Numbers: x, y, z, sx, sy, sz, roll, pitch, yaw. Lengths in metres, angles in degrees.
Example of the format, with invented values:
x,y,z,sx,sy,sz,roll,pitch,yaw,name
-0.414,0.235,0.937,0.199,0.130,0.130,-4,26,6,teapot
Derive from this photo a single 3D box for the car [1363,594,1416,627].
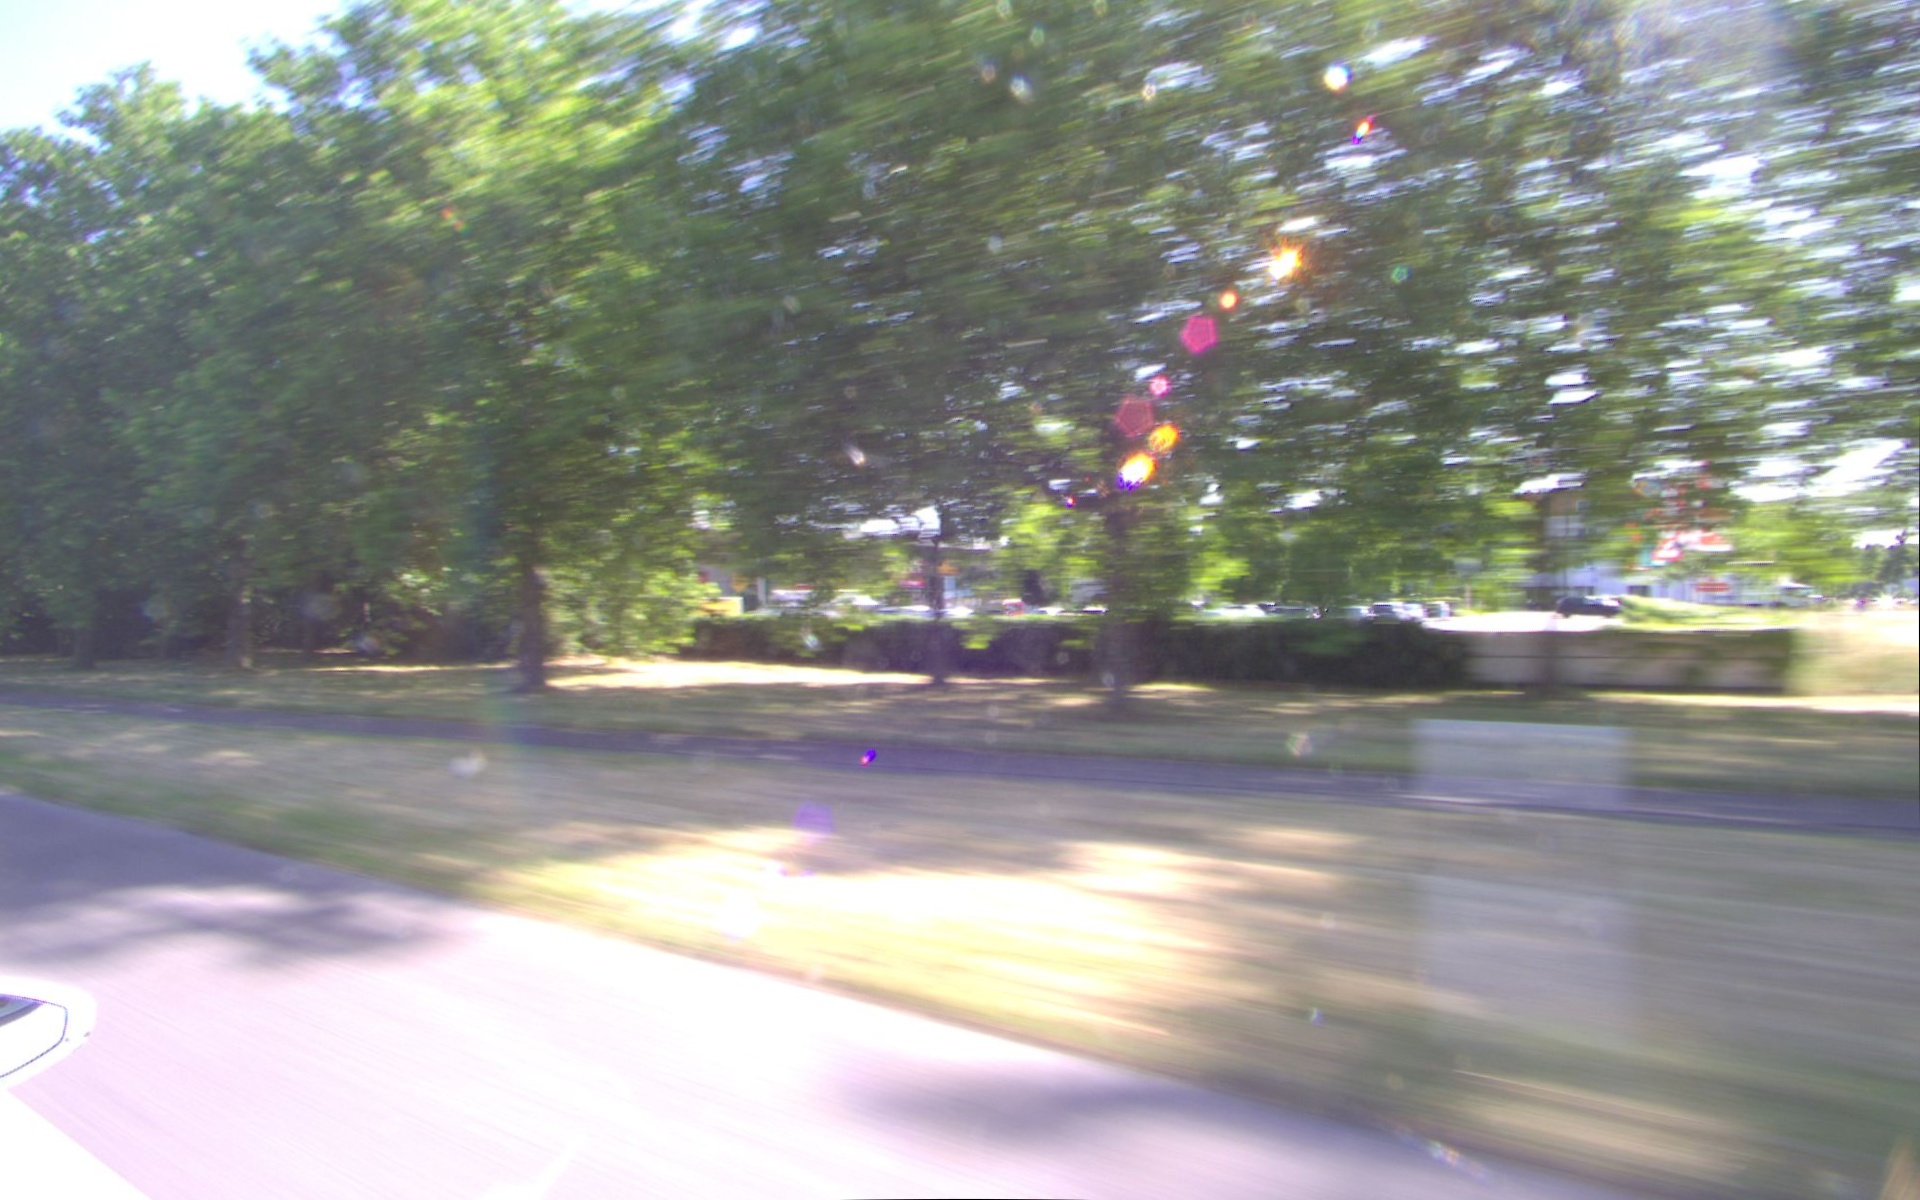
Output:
x,y,z,sx,sy,sz,roll,pitch,yaw,name
26.288,0.602,61.256,1.976,1.951,3.969,-1,0,40,car

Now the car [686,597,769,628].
x,y,z,sx,sy,sz,roll,pitch,yaw,name
-12.663,0.688,54.619,3.959,1.605,1.982,1,-2,-42,car

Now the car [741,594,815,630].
x,y,z,sx,sy,sz,roll,pitch,yaw,name
-10.906,0.746,60.043,3.960,2.039,1.982,1,-2,-43,car

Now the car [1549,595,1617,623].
x,y,z,sx,sy,sz,roll,pitch,yaw,name
46.870,0.703,75.376,4.285,2.039,1.989,-2,-2,34,car

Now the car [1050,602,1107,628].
x,y,z,sx,sy,sz,roll,pitch,yaw,name
8.764,1.089,73.718,1.966,1.773,4.468,-1,0,43,car

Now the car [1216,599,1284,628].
x,y,z,sx,sy,sz,roll,pitch,yaw,name
19.056,0.876,65.774,4.451,1.773,1.974,-1,0,-36,car

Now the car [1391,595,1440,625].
x,y,z,sx,sy,sz,roll,pitch,yaw,name
30.238,0.635,66.395,1.976,1.951,3.969,-1,0,40,car

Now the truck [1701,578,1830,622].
x,y,z,sx,sy,sz,roll,pitch,yaw,name
68.167,0.046,84.992,2.593,3.592,8.216,-1,0,-28,truck

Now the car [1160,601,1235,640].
x,y,z,sx,sy,sz,roll,pitch,yaw,name
11.444,0.964,48.064,1.976,1.751,3.969,-1,0,39,car
